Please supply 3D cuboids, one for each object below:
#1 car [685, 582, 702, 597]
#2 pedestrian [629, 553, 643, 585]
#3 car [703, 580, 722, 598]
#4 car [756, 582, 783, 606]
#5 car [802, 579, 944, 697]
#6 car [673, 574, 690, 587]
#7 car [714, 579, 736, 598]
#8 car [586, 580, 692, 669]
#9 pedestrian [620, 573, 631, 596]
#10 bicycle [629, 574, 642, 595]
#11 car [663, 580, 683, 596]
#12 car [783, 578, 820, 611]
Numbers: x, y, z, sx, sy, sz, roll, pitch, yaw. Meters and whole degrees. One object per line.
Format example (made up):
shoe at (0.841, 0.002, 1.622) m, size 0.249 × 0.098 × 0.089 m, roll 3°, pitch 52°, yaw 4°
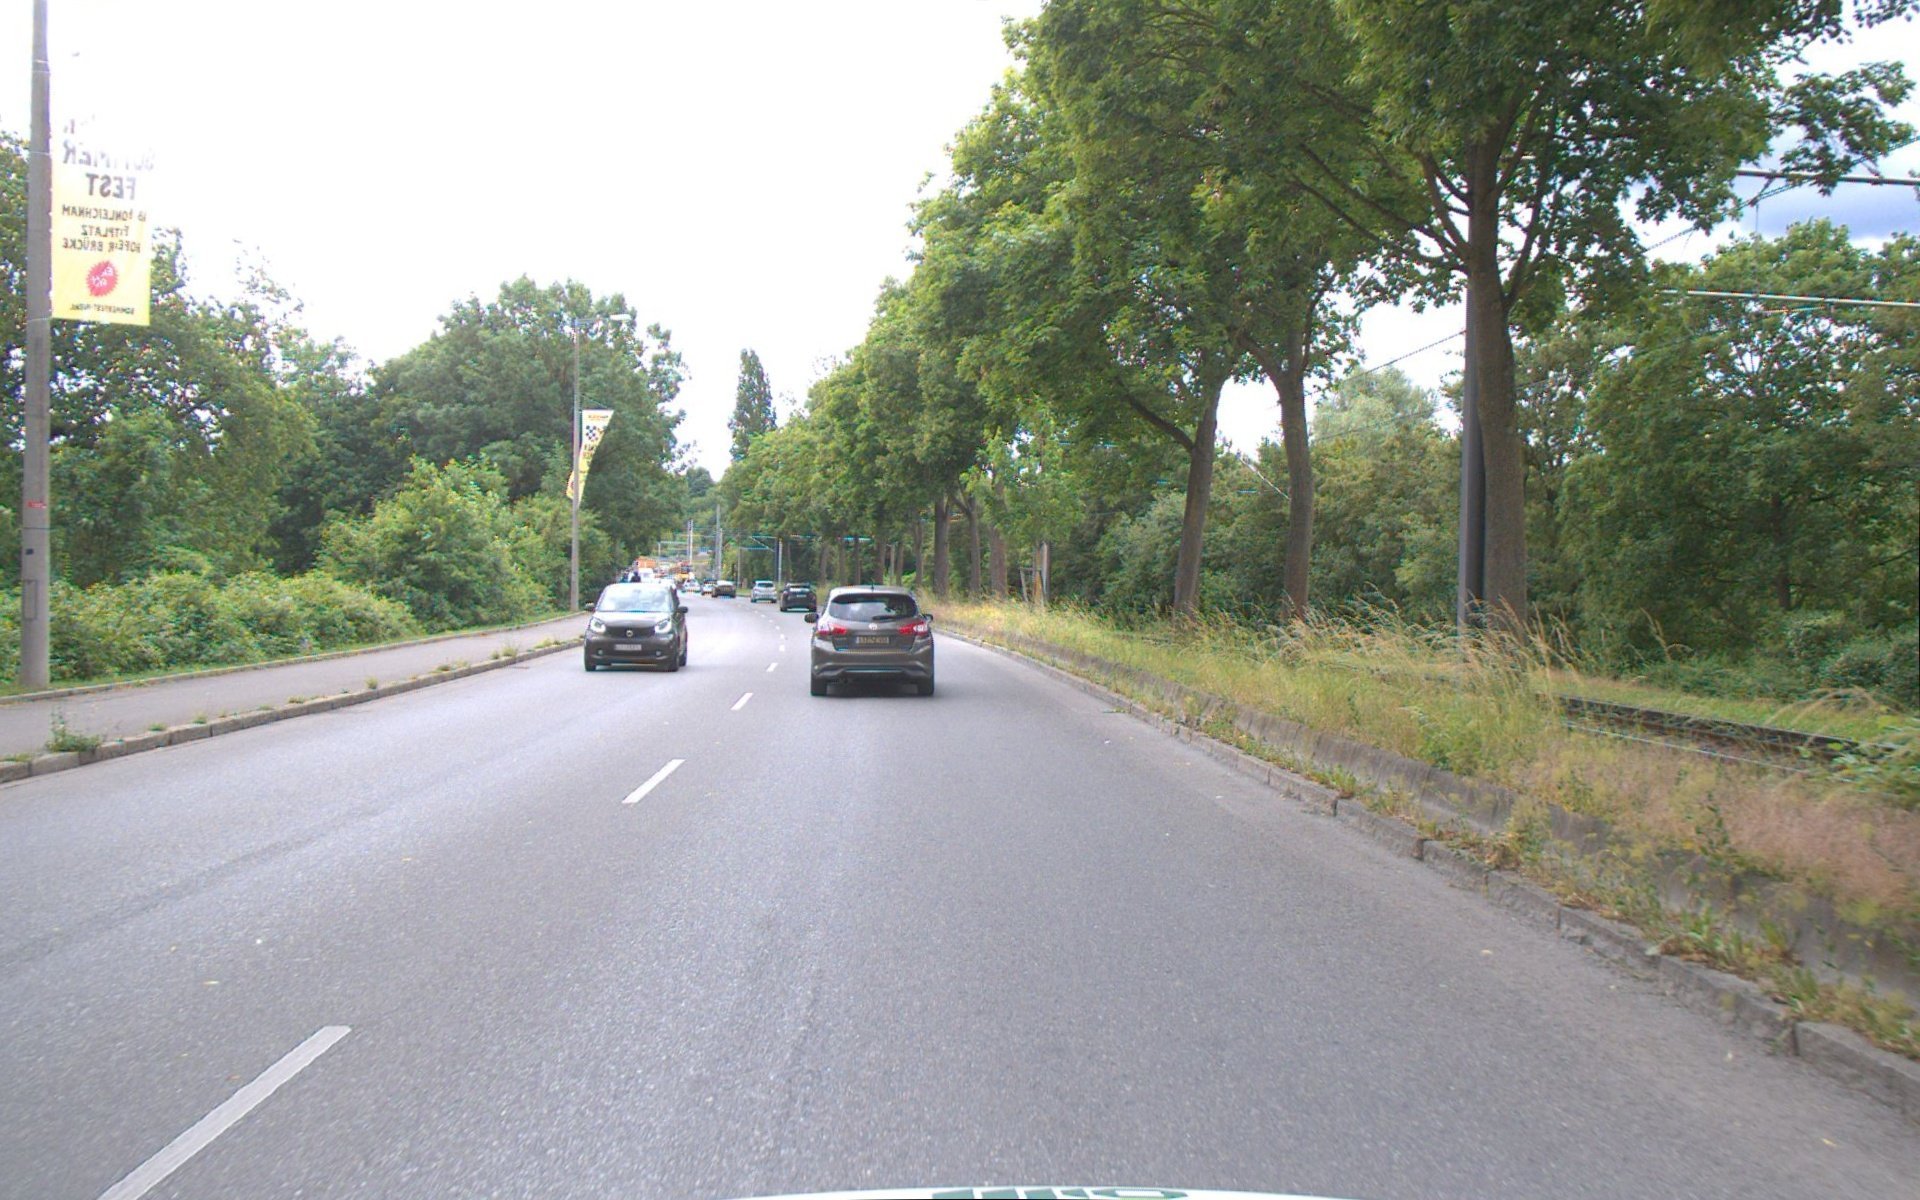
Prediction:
car at (-28.801, -1.149, 178.567) m, size 1.743 × 1.497 × 3.992 m, roll 3°, pitch 1°, yaw -9°
pedestrian at (-16.609, -1.597, 84.809) m, size 0.606 × 1.598 × 0.848 m, roll 3°, pitch 1°, yaw -7°
car at (-23.568, -1.051, 157.467) m, size 1.743 × 1.497 × 3.992 m, roll 2°, pitch 1°, yaw -9°
car at (-13.192, -0.447, 114.618) m, size 1.742 × 1.497 × 3.995 m, roll 3°, pitch 1°, yaw -6°
car at (-1.362, 0.494, 24.378) m, size 1.782 × 1.534 × 3.994 m, roll 0°, pitch 1°, yaw -8°
car at (-34.674, -2.443, 205.985) m, size 1.746 × 1.497 × 3.985 m, roll 3°, pitch 1°, yaw -15°
car at (-20.476, -0.989, 143.922) m, size 1.743 × 1.497 × 3.992 m, roll 3°, pitch 1°, yaw -9°
car at (-5.803, 0.414, 30.168) m, size 1.564 × 1.532 × 3.025 m, roll 0°, pitch 0°, yaw -5°
pedestrian at (-24.957, -1.177, 123.365) m, size 0.682 × 1.650 × 0.683 m, roll 3°, pitch 1°, yaw -8°
bicycle at (-16.645, -0.799, 84.867) m, size 0.479 × 1.048 × 1.123 m, roll 3°, pitch 1°, yaw -7°
car at (-27.779, -1.158, 160.132) m, size 1.717 × 1.489 × 3.912 m, roll 2°, pitch 0°, yaw -9°
car at (-8.130, -0.309, 84.946) m, size 1.741 × 1.497 × 3.996 m, roll 3°, pitch 1°, yaw -5°
